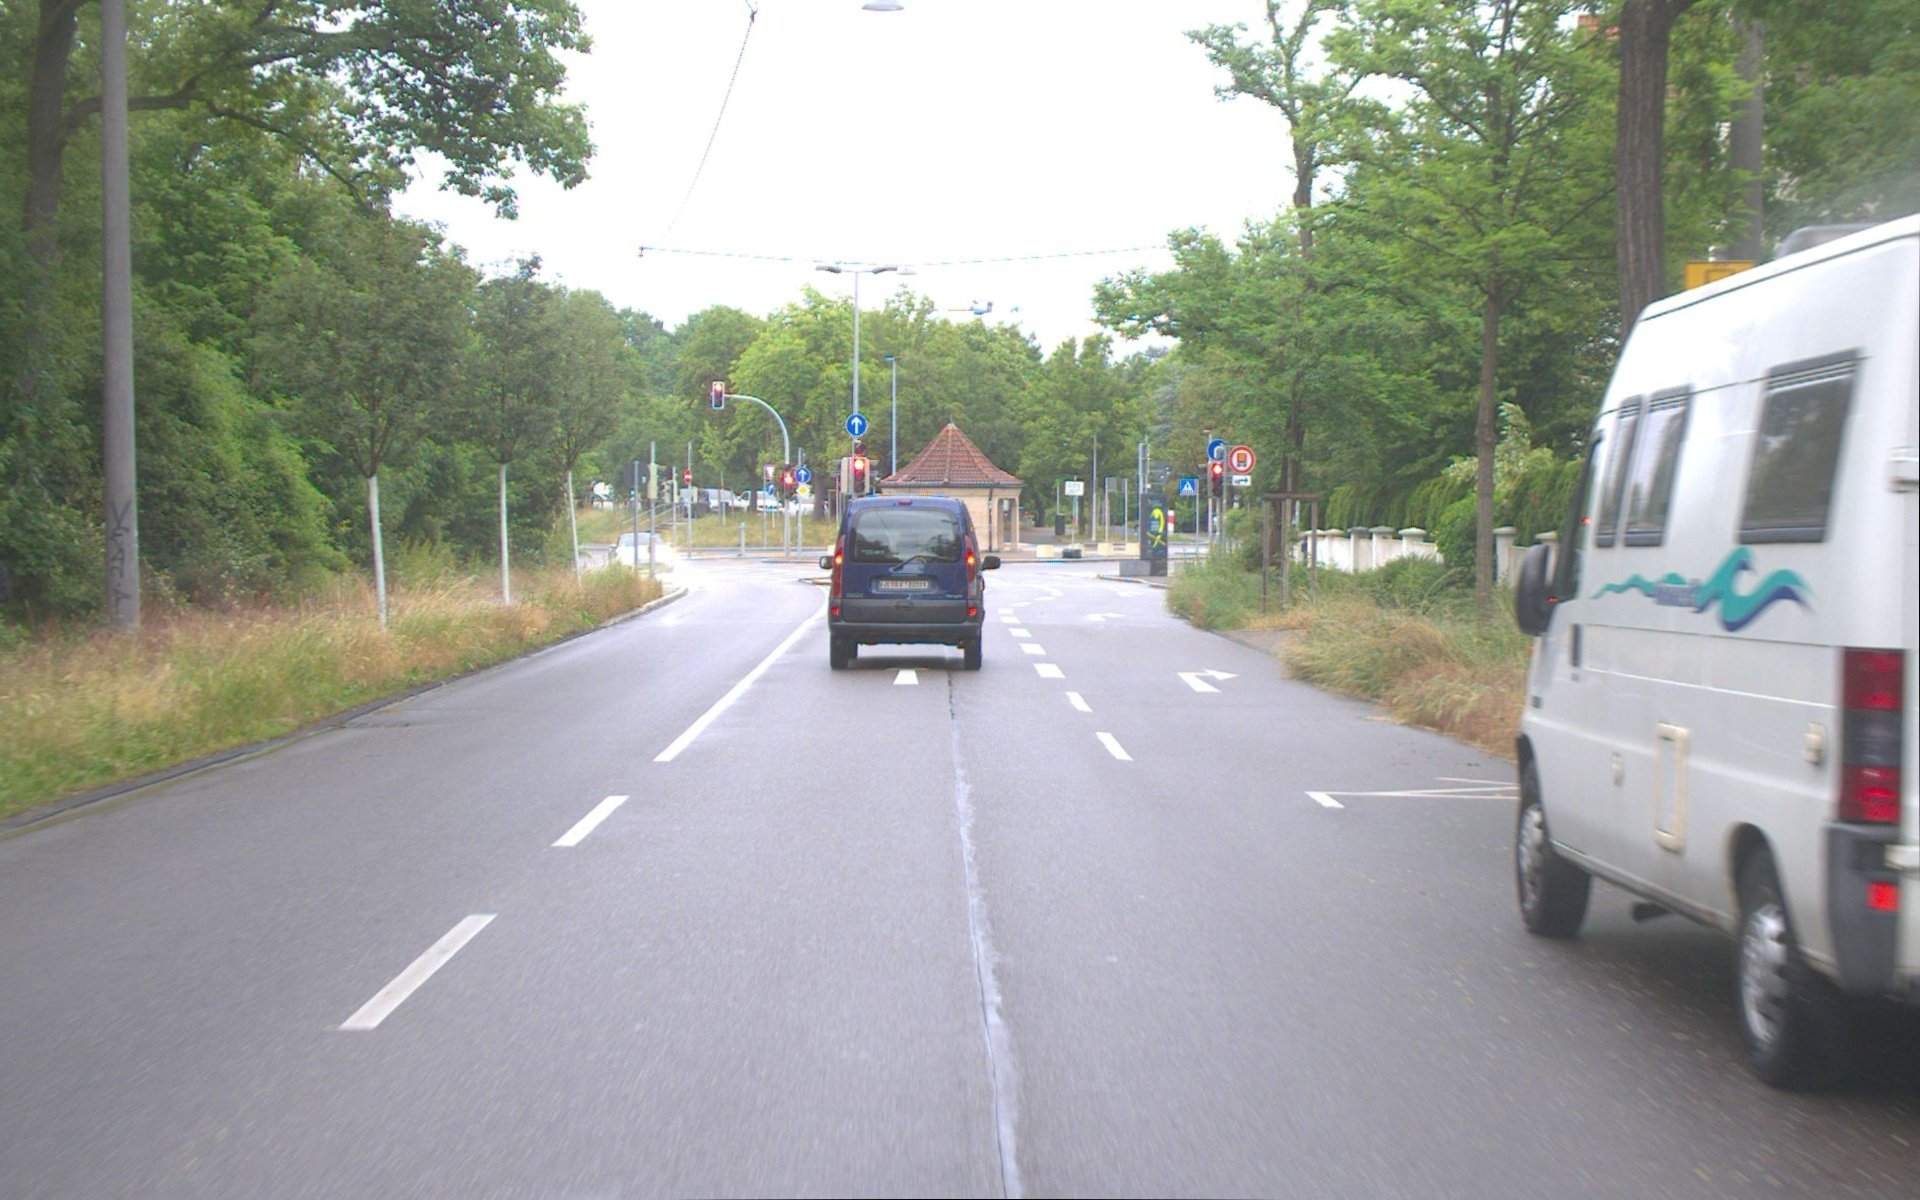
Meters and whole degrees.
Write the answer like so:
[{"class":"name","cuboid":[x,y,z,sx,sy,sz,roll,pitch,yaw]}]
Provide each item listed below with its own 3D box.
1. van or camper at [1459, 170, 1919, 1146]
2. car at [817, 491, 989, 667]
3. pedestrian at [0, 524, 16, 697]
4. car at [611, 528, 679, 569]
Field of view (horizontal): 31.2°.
[{"class":"van or camper","cuboid":[3.200,0.133,11.563,2.037,2.471,5.639,3,1,-1]},{"class":"car","cuboid":[-0.612,-0.261,37.516,1.731,1.780,4.000,1,1,-1]},{"class":"pedestrian","cuboid":[-9.296,0.095,32.082,0.781,1.602,0.732,0,1,-1]},{"class":"car","cuboid":[-10.901,-1.806,118.765,1.993,1.307,4.361,-2,2,-9]}]
